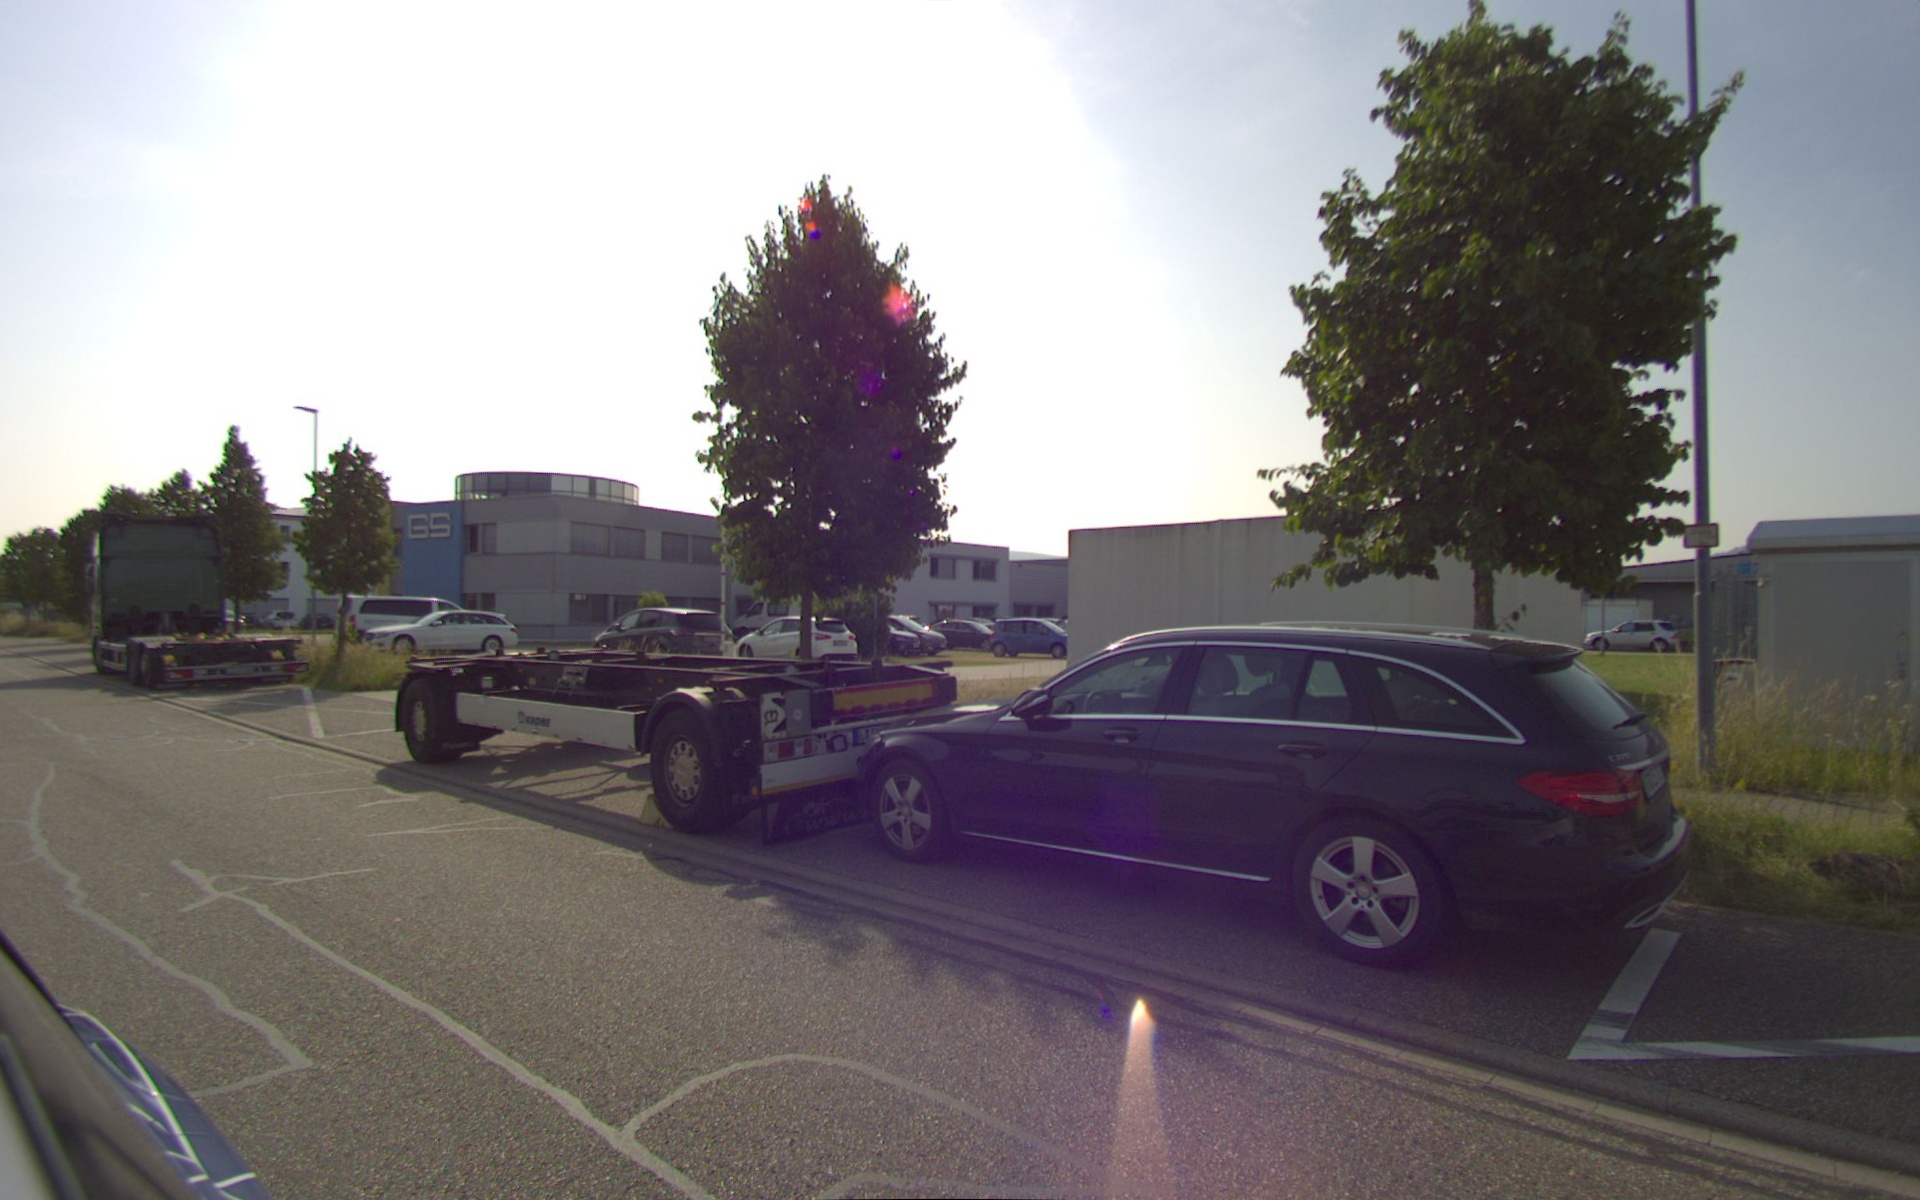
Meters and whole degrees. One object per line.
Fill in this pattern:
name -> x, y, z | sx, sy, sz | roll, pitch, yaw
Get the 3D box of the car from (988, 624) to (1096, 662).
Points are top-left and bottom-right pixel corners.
car -> 3.324, 1.709, 41.069 | 3.976, 1.453, 1.886 | 0, -1, 24

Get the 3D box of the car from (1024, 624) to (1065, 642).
car -> 5.979, 2.358, 71.863 | 2.706, 1.240, 1.078 | 0, -2, 33

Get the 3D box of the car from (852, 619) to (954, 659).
car -> -2.380, 1.582, 41.540 | 4.211, 1.527, 1.687 | -1, -3, 41

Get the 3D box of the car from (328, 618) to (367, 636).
car -> -50.960, 2.220, 84.205 | 3.918, 1.479, 1.735 | -1, -2, 43

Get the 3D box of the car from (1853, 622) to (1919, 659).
car -> 46.943, 2.000, 50.074 | 1.844, 1.782, 4.003 | 2, -2, -44

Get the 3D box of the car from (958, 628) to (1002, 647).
car -> 1.298, 2.435, 65.561 | 2.706, 1.186, 1.078 | 0, -2, 33

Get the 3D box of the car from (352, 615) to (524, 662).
car -> -17.172, 1.243, 33.485 | 1.998, 1.442, 4.679 | -1, -1, 39

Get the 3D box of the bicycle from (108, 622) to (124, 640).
bicycle -> -47.073, 1.748, 56.441 | 0.534, 0.986, 1.872 | 1, -2, -44

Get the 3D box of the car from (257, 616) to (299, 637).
car -> -54.473, 2.107, 80.808 | 3.918, 1.631, 1.885 | -1, -2, 43

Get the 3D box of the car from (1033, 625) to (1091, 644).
car -> 7.507, 2.537, 74.850 | 3.998, 1.381, 1.810 | -1, -2, 41

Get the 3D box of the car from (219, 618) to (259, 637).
car -> -56.283, 2.137, 78.988 | 3.918, 1.479, 1.735 | -1, -2, 43

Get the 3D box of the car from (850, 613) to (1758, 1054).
car -> 1.597, 0.851, 5.715 | 4.431, 1.478, 1.972 | -1, -1, 42

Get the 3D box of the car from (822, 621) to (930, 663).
car -> -3.310, 1.591, 39.297 | 4.211, 1.527, 1.687 | -1, -3, 41

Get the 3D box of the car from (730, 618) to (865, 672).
car -> -4.941, 1.319, 30.477 | 4.211, 1.527, 1.687 | -1, -3, 41

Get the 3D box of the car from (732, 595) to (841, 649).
car -> -9.131, 1.108, 53.143 | 5.719, 2.714, 1.696 | 0, -1, 25

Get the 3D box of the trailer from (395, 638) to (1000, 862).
trailer -> -2.984, 1.045, 9.485 | 7.159, 1.242, 2.106 | -1, -1, 44

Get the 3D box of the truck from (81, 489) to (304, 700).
truck -> -17.693, -0.122, 22.983 | 9.803, 3.911, 2.428 | 0, 0, 43

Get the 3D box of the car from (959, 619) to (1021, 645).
car -> 2.052, 2.163, 69.277 | 3.997, 1.702, 1.778 | -1, -2, 40

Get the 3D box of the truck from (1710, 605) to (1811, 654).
truck -> 43.010, 1.590, 54.425 | 1.970, 2.533, 4.004 | 2, -2, -43

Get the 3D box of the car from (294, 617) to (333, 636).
car -> -52.740, 2.162, 82.564 | 3.918, 1.479, 1.735 | -1, -2, 43

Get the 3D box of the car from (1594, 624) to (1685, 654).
car -> 38.591, 2.202, 57.533 | 4.001, 1.655, 1.845 | -1, -2, 44

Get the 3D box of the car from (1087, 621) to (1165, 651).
car -> 9.474, 2.044, 57.941 | 1.820, 1.625, 4.154 | 2, -1, -45

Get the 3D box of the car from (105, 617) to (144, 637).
car -> -60.904, 1.973, 73.746 | 3.918, 1.420, 1.735 | -1, -2, 43

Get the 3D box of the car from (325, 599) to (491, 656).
car -> -19.156, 0.960, 35.297 | 2.102, 1.850, 4.654 | -1, -2, 42

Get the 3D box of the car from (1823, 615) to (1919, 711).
car -> 16.554, 0.976, 15.922 | 4.475, 1.506, 1.813 | -2, -3, 41

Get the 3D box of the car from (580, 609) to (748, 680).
car -> -7.862, 1.122, 26.673 | 4.696, 1.699, 1.973 | -1, -2, 40
